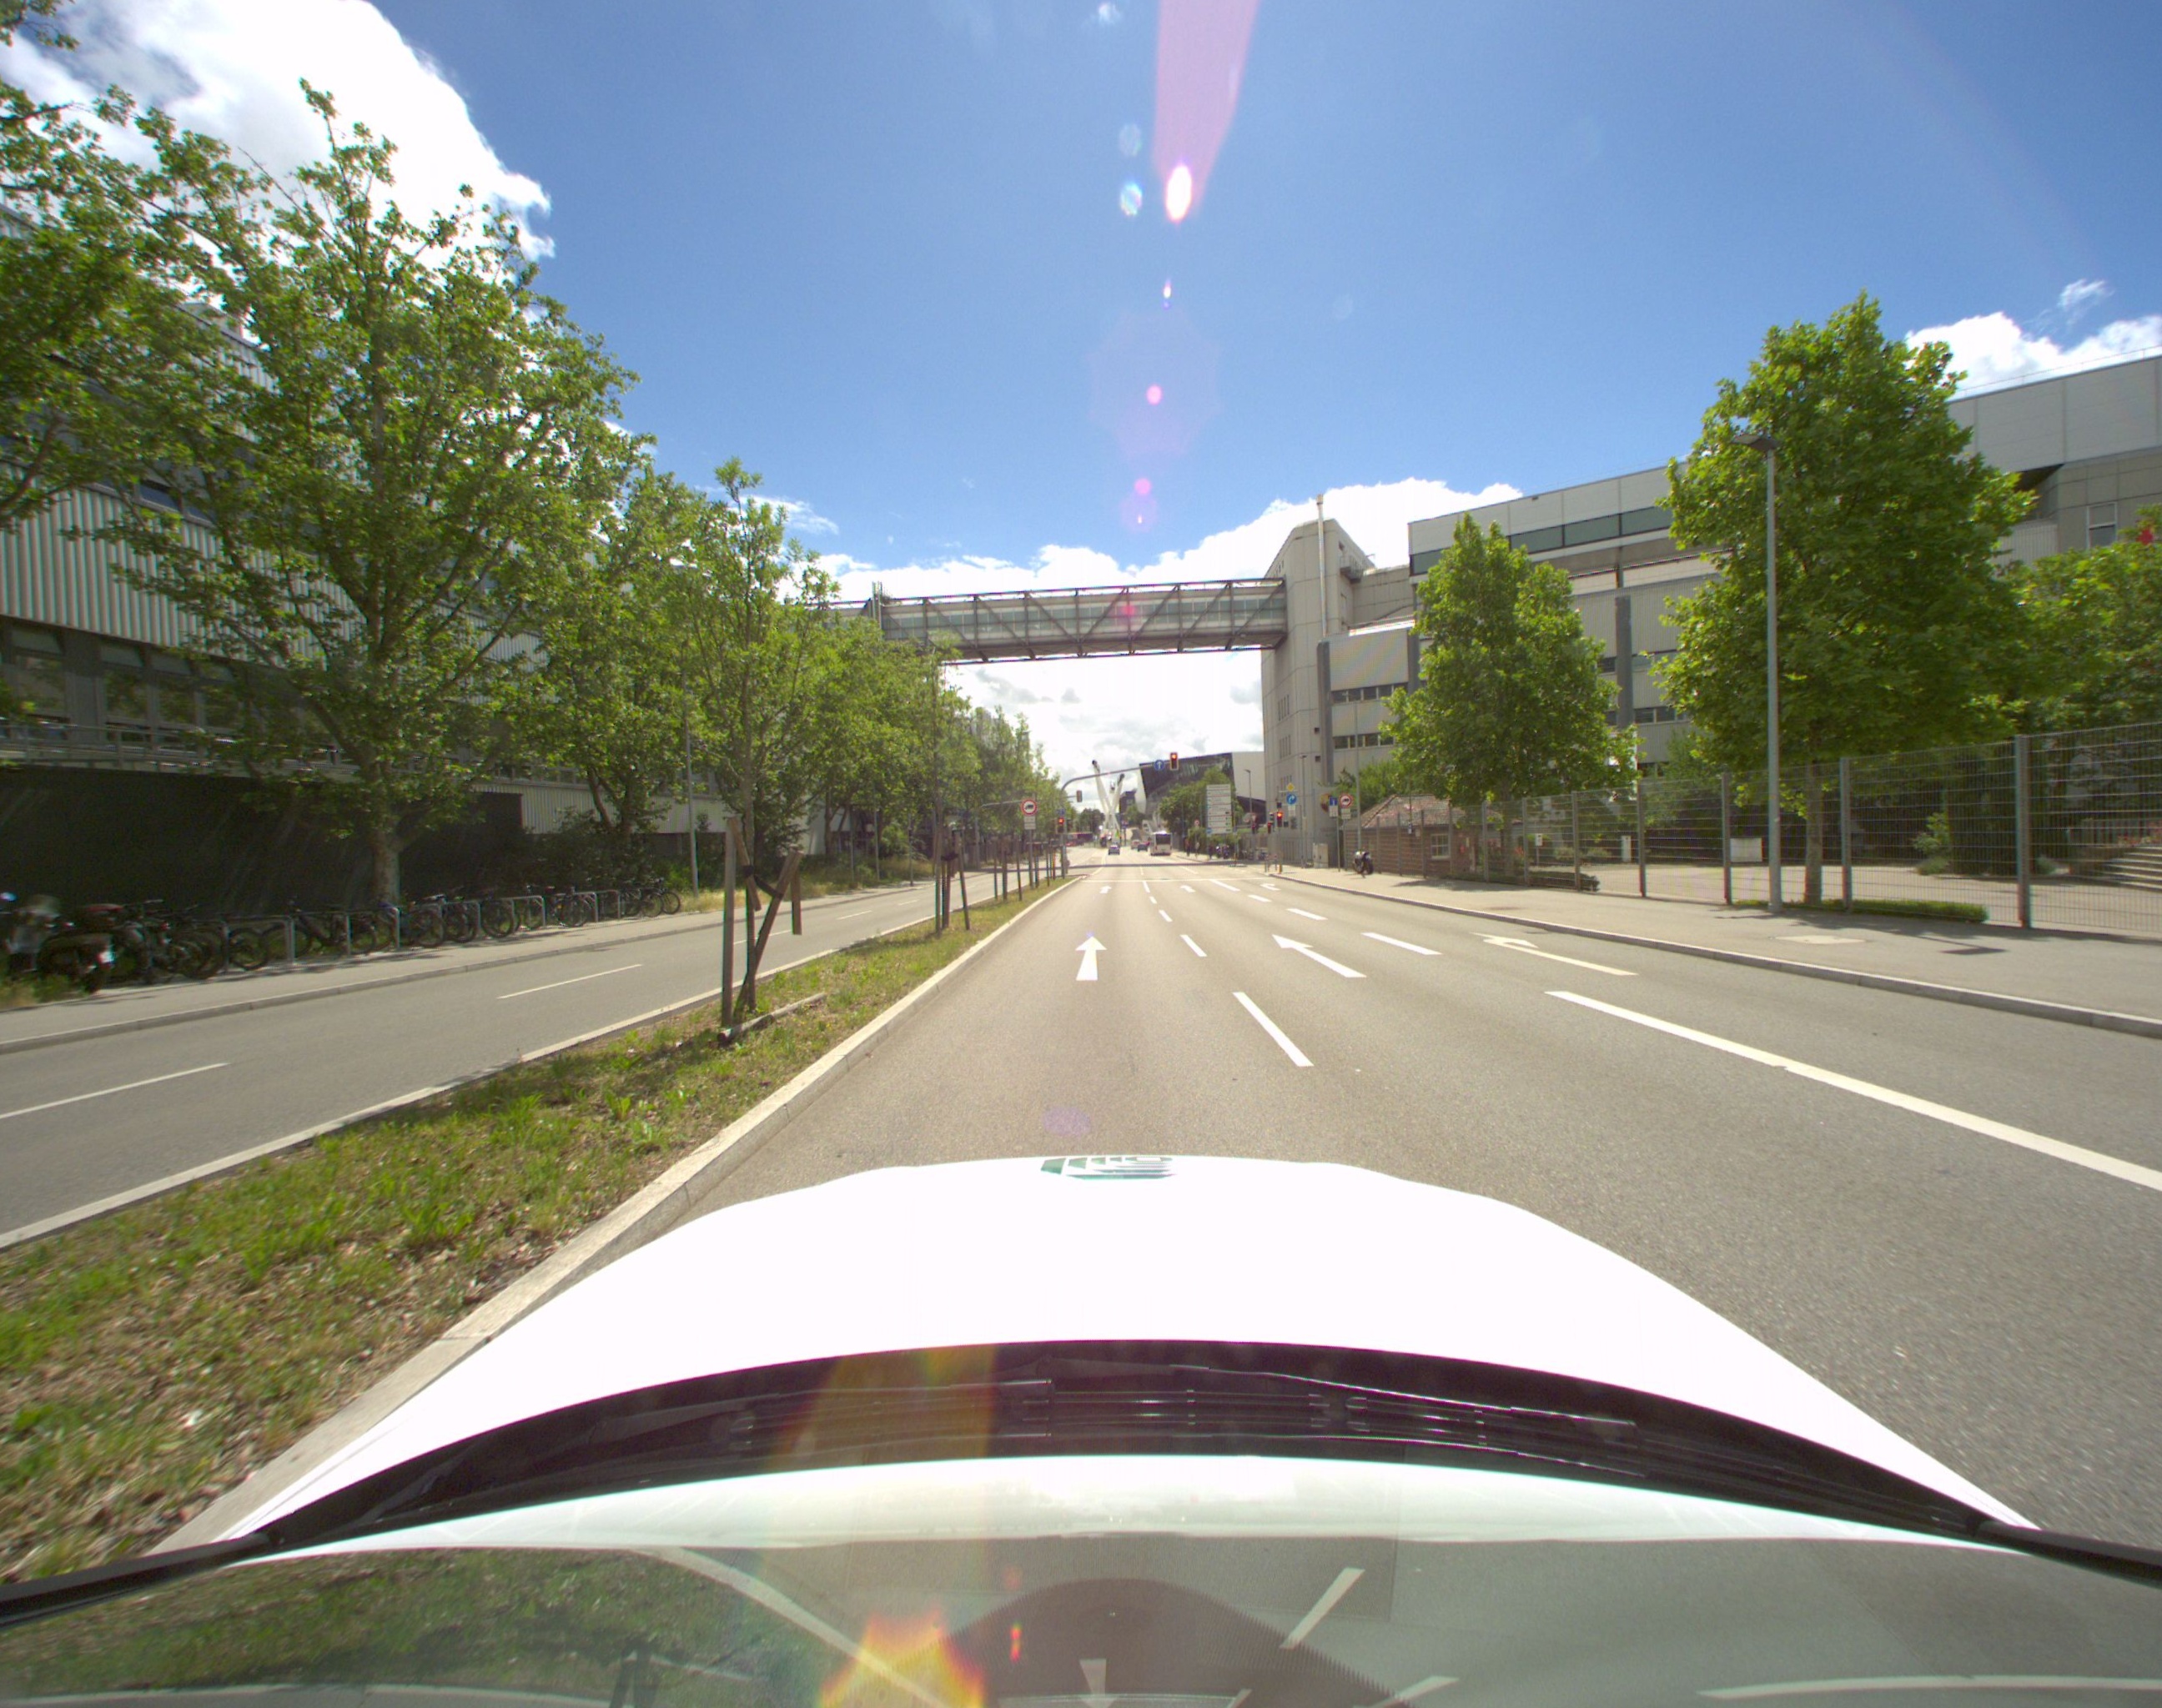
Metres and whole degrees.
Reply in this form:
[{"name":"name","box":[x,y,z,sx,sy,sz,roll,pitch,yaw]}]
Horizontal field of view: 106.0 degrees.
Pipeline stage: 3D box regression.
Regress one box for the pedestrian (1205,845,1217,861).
[{"name":"pedestrian","box":[13.661,-0.098,85.441,0.839,1.624,0.962,-1,0,44]}]

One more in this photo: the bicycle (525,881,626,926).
[{"name":"bicycle","box":[-13.601,1.324,21.923,2.548,1.157,0.646,-1,0,11]}]

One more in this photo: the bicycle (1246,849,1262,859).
[{"name":"bicycle","box":[15.723,-0.016,74.016,0.399,0.937,1.914,-1,0,-23]}]

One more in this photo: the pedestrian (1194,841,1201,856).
[{"name":"pedestrian","box":[14.518,-0.691,101.352,0.633,1.741,0.822,-1,0,-1]}]

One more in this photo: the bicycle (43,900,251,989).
[{"name":"bicycle","box":[-13.855,1.322,12.130,2.127,1.180,0.806,-1,0,0]}]

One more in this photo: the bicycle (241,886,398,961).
[{"name":"bicycle","box":[-14.212,1.285,15.239,2.127,1.282,0.806,-1,0,0]}]

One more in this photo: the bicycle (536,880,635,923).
[{"name":"bicycle","box":[-13.993,1.333,23.029,2.548,1.157,0.728,-1,0,11]}]

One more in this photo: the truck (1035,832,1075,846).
[{"name":"truck","box":[-8.275,-4.765,260.113,12.181,4.324,3.546,0,-1,-24]}]

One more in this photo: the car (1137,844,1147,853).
[{"name":"car","box":[11.302,-1.006,150.774,1.731,1.741,3.694,-1,0,3]}]

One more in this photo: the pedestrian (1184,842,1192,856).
[{"name":"pedestrian","box":[13.440,-0.631,102.309,0.817,1.707,0.882,-1,0,3]}]

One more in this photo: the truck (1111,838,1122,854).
[{"name":"truck","box":[8.665,-2.013,199.222,2.382,3.897,6.182,-1,0,3]}]

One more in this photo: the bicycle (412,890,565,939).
[{"name":"bicycle","box":[-13.913,1.414,19.203,2.832,1.006,0.849,-1,0,-7]}]

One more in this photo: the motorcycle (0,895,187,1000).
[{"name":"motorcycle","box":[-13.803,1.258,11.179,2.127,1.309,0.806,-1,0,0]}]

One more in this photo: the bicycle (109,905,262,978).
[{"name":"bicycle","box":[-14.142,1.372,12.883,1.917,1.074,0.422,-1,0,0]}]

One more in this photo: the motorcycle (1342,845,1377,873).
[{"name":"motorcycle","box":[12.386,0.219,36.266,0.691,1.158,2.146,-3,0,-2]}]

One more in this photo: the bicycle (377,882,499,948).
[{"name":"bicycle","box":[-13.597,1.274,17.262,1.912,1.282,0.806,-1,0,0]}]

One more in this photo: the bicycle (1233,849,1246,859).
[{"name":"bicycle","box":[14.828,0.015,76.348,0.398,0.937,1.918,-1,0,-16]}]

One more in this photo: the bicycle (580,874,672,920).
[{"name":"bicycle","box":[-13.330,1.245,23.870,2.394,1.258,0.556,-1,0,3]}]

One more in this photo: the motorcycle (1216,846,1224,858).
[{"name":"motorcycle","box":[15.064,-0.220,88.142,0.572,1.203,2.026,-3,1,3]}]

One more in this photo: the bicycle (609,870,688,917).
[{"name":"bicycle","box":[-13.246,1.217,24.970,2.157,1.363,0.490,-1,0,3]}]

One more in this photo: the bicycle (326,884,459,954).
[{"name":"bicycle","box":[-13.610,1.270,16.141,1.912,1.282,0.806,-1,0,0]}]

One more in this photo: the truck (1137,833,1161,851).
[{"name":"truck","box":[17.397,-2.985,206.947,3.423,4.391,9.469,-1,0,21]}]

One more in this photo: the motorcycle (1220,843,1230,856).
[{"name":"motorcycle","box":[14.172,-0.470,80.162,0.703,1.203,2.026,-3,1,3]}]

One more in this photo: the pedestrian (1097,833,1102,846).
[{"name":"pedestrian","box":[5.506,-4.249,237.560,1.410,3.600,1.284,-1,0,1]}]

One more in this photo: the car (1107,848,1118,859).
[{"name":"car","box":[5.046,-0.121,129.195,1.731,1.741,3.694,-1,0,3]}]

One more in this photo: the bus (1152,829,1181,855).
[{"name":"bus","box":[12.313,-1.633,118.291,3.439,3.543,10.611,-1,0,2]}]

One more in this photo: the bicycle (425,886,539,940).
[{"name":"bicycle","box":[-13.398,1.311,18.250,1.912,1.122,0.806,-1,0,0]}]

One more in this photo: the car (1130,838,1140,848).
[{"name":"car","box":[11.752,-2.319,177.610,1.988,2.014,3.997,0,-1,-1]}]

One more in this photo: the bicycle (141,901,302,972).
[{"name":"bicycle","box":[-14.072,1.341,13.351,2.074,1.062,0.497,-1,0,0]}]

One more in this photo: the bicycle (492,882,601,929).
[{"name":"bicycle","box":[-13.830,1.332,21.085,2.548,1.096,0.698,-3,0,11]}]
